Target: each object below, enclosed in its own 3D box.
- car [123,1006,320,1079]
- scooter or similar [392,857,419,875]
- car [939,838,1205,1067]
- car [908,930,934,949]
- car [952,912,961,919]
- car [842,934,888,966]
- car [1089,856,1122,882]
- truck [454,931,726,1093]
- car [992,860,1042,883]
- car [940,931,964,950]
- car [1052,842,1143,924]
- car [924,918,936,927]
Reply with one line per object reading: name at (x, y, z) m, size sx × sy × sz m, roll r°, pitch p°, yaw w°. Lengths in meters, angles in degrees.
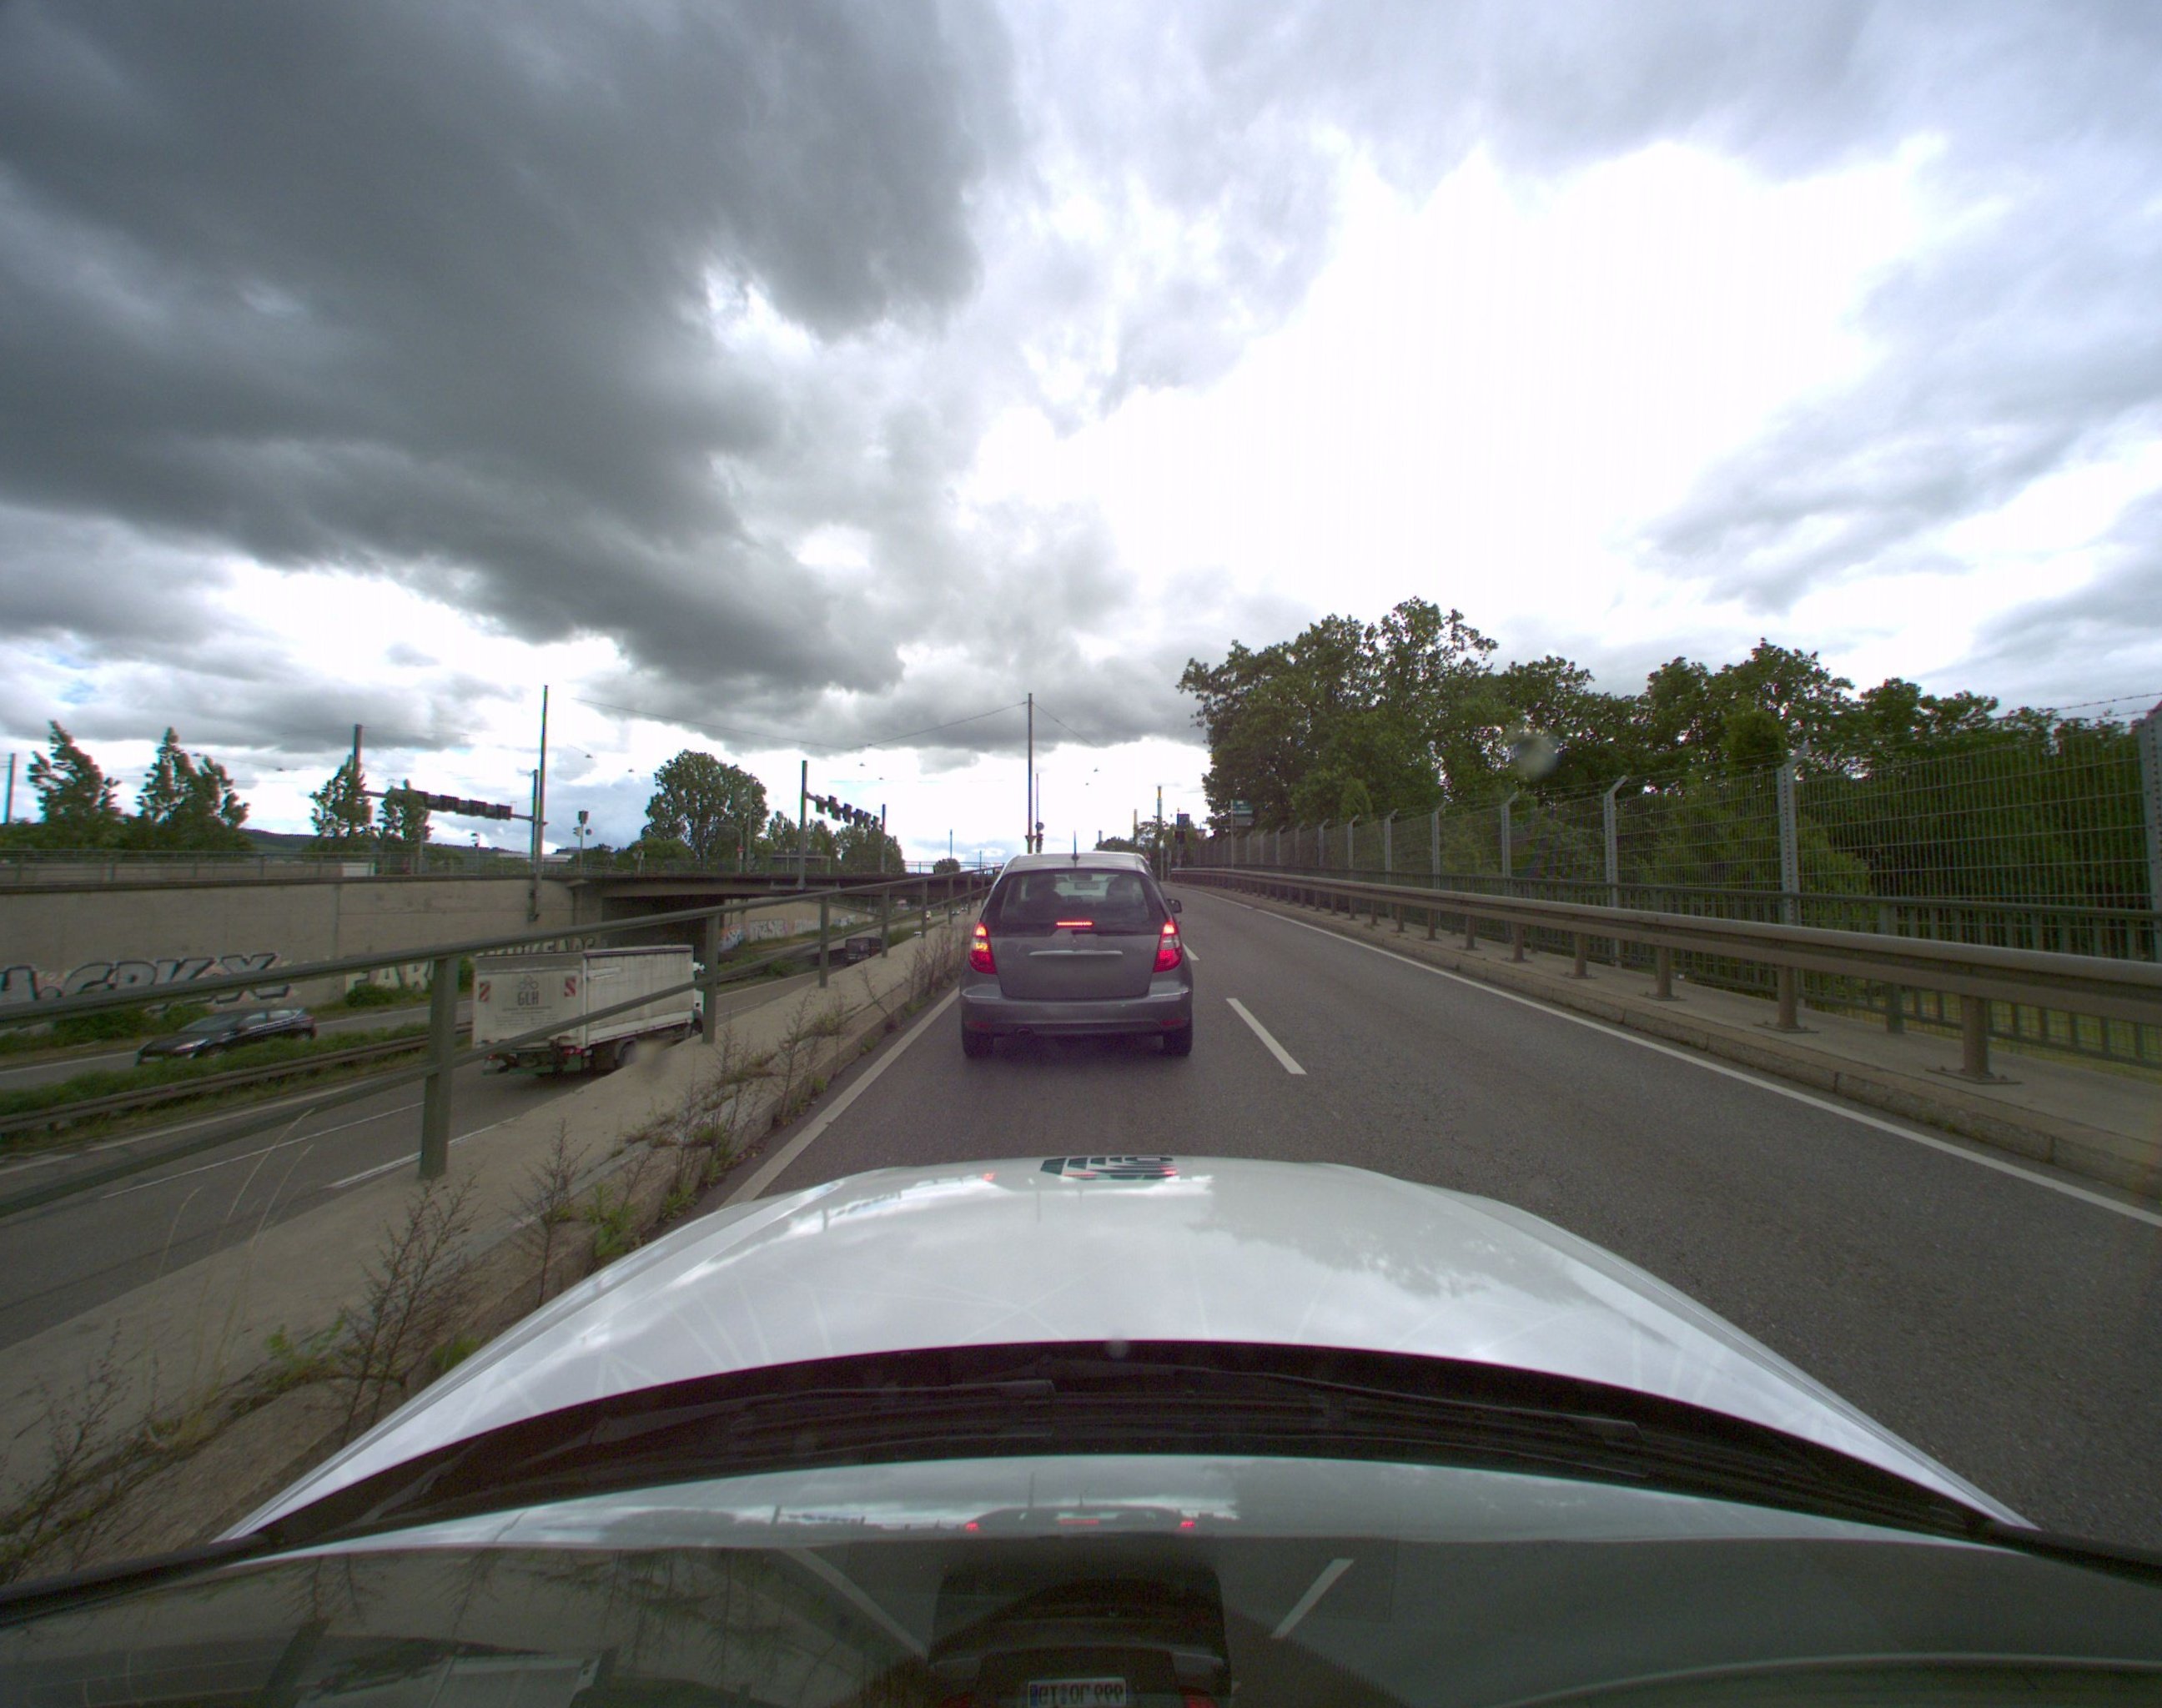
car at (-25.469, 5.554, 24.360) m, size 1.658 × 1.501 × 3.858 m, roll -2°, pitch -4°, yaw 2°
scooter or similar at (-42.085, 0.736, 50.772) m, size 0.542 × 1.094 × 1.414 m, roll -1°, pitch -2°, yaw -4°
car at (0.001, 0.696, 7.694) m, size 1.851 × 1.588 × 4.002 m, roll 0°, pitch 0°, yaw 2°
car at (-16.244, 8.655, 82.808) m, size 1.893 × 1.622 × 4.174 m, roll 0°, pitch -3°, yaw -2°
car at (-36.729, 18.089, 239.896) m, size 1.910 × 1.739 × 4.549 m, roll -1°, pitch -3°, yaw -1°
car at (-15.685, 6.960, 59.471) m, size 1.891 × 2.003 × 4.959 m, roll -1°, pitch -3°, yaw 2°
car at (1.677, 1.041, 57.445) m, size 1.928 × 1.717 × 3.994 m, roll 0°, pitch -1°, yaw -4°
truck at (-12.820, 3.957, 22.294) m, size 2.736 × 3.293 × 7.442 m, roll -2°, pitch -3°, yaw 2°
car at (-5.405, 1.442, 68.153) m, size 2.011 × 1.870 × 4.162 m, roll 0°, pitch -1°, yaw -42°
car at (-12.757, 8.521, 80.799) m, size 1.893 × 1.622 × 4.174 m, roll 0°, pitch -3°, yaw -2°
car at (0.339, 0.635, 19.377) m, size 1.925 × 1.717 × 4.404 m, roll 0°, pitch -1°, yaw 0°
car at (-35.480, 16.122, 191.316) m, size 1.988 × 2.067 × 5.172 m, roll 0°, pitch -3°, yaw -2°
